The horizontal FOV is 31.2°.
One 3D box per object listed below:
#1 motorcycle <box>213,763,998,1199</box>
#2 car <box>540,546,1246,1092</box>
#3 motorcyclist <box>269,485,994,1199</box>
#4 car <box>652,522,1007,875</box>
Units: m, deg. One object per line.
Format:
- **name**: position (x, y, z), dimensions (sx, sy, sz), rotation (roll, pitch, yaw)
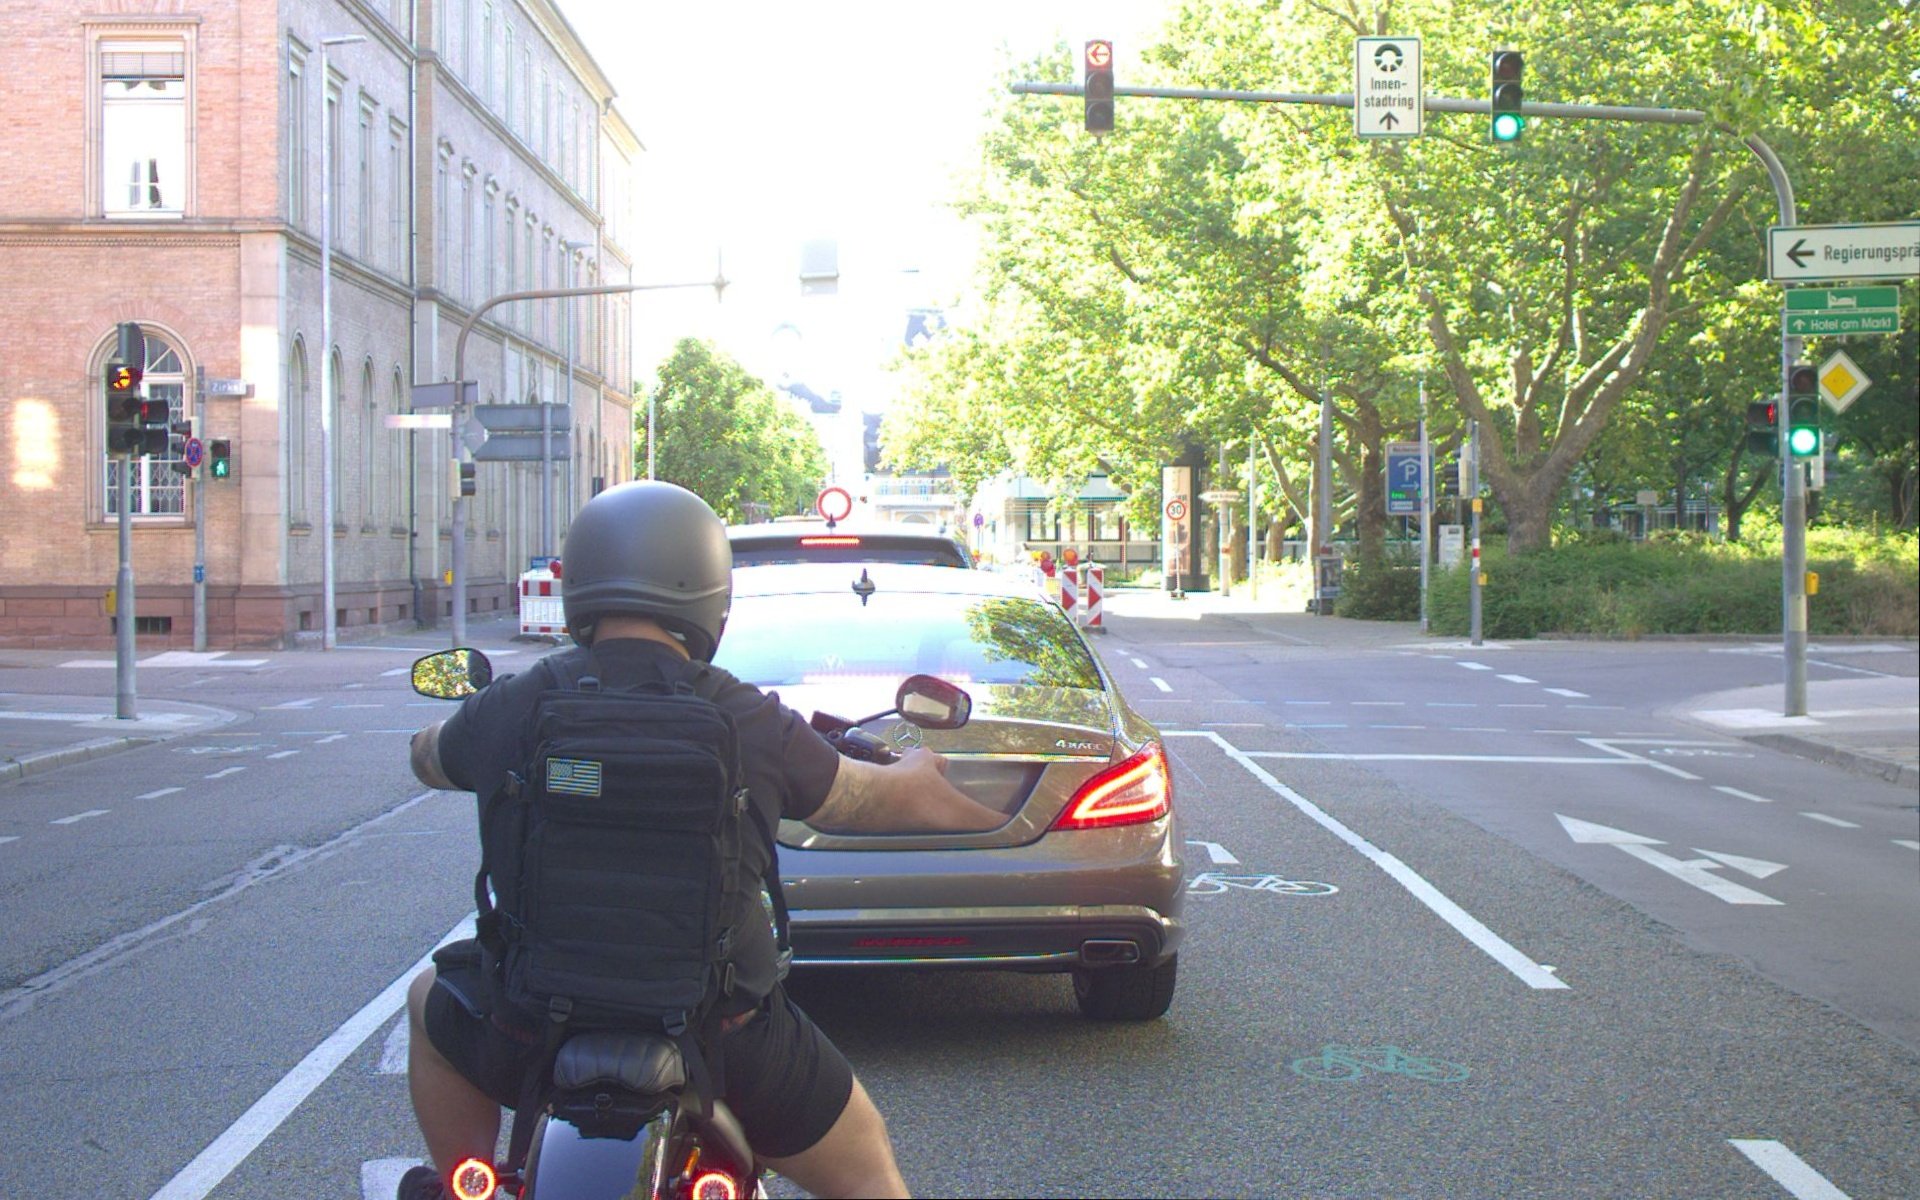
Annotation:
- **motorcycle**: position (-0.460, 0.881, 5.569), dimensions (0.989, 1.075, 2.452), rotation (0, 1, -1)
- **car**: position (-0.435, 0.559, 11.605), dimensions (1.945, 1.468, 4.363), rotation (0, 1, -7)
- **motorcyclist**: position (-0.456, 0.626, 5.410), dimensions (0.989, 1.591, 1.404), rotation (0, 1, -1)
- **car**: position (-0.641, 0.409, 17.770), dimensions (1.612, 1.602, 4.329), rotation (0, 1, -1)
